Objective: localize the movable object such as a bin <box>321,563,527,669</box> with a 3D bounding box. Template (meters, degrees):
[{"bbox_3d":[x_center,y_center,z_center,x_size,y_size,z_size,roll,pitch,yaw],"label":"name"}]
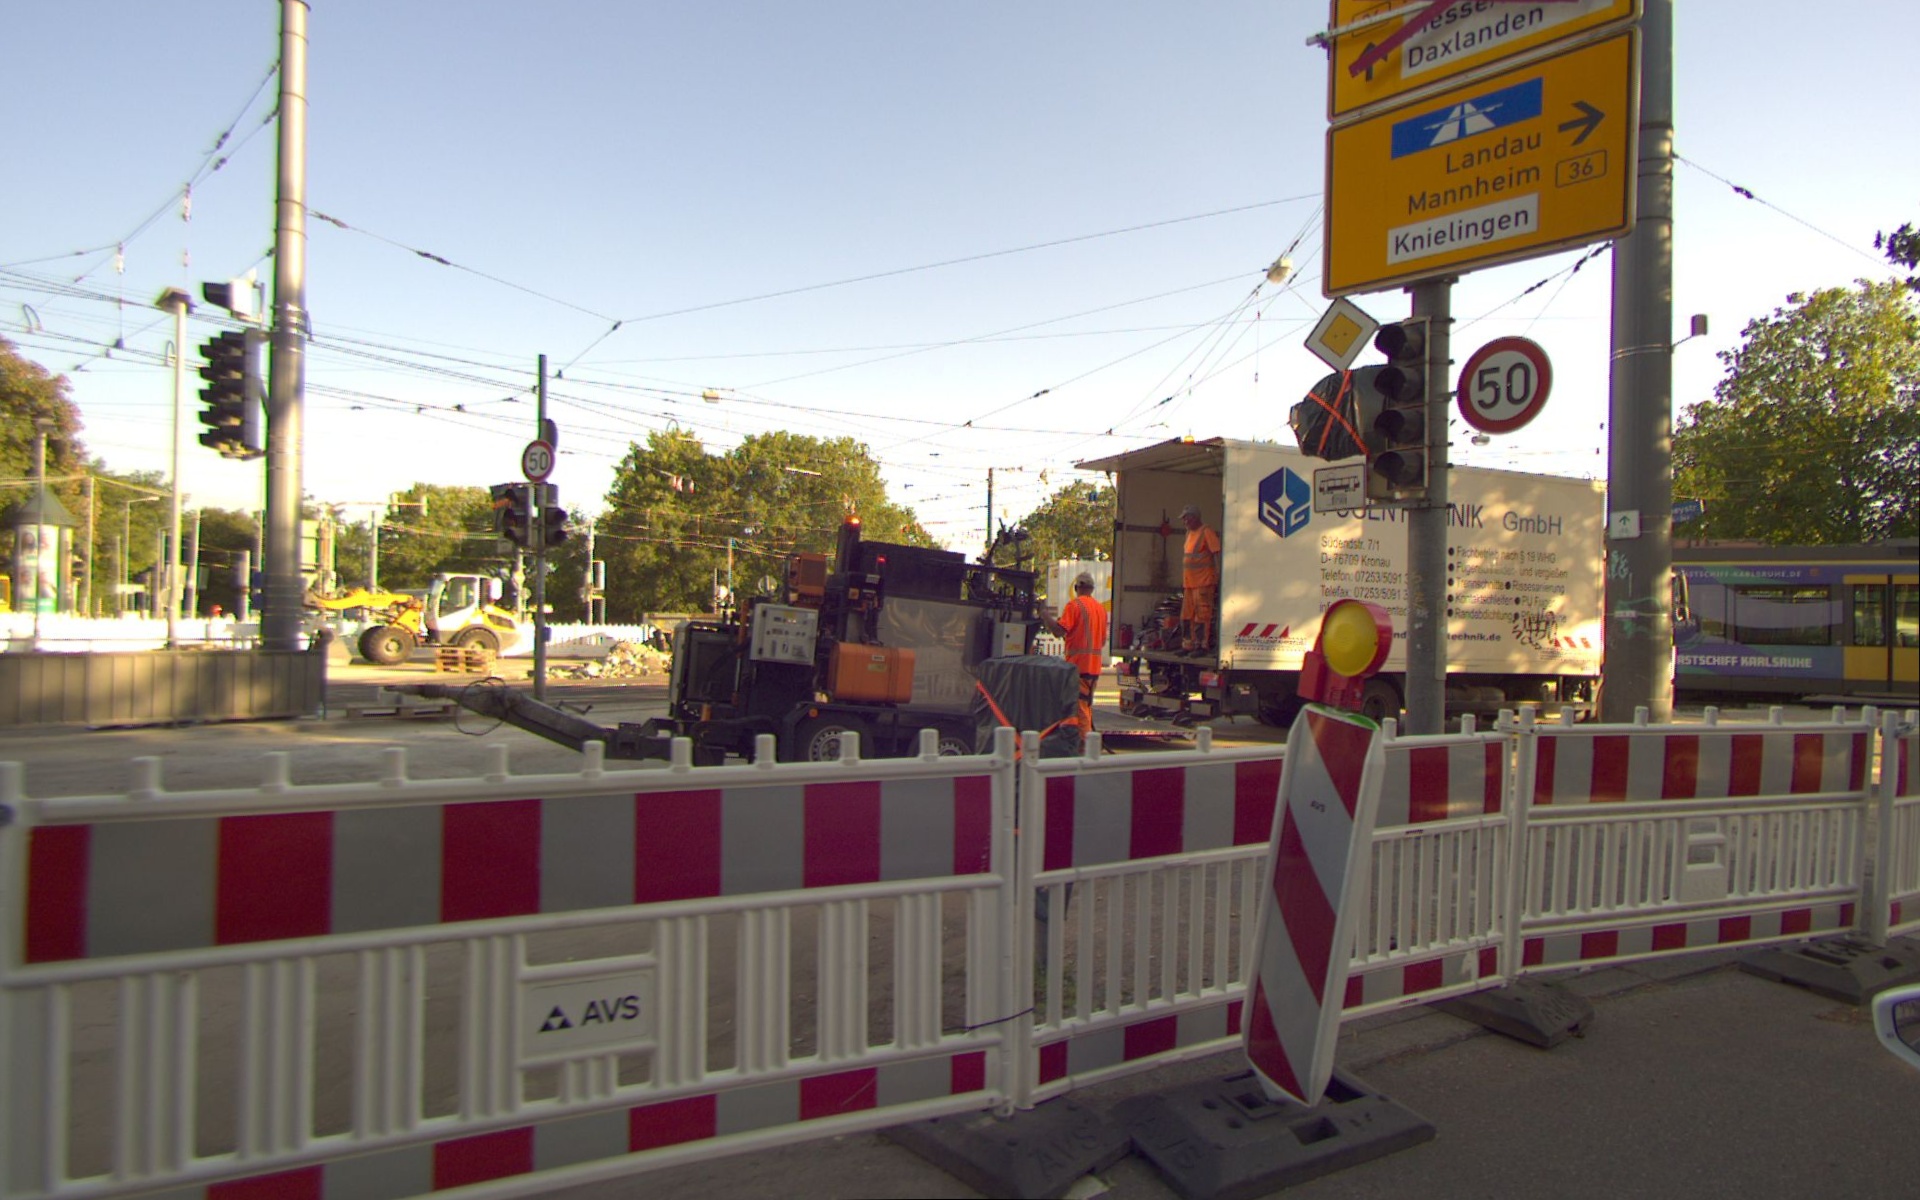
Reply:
[{"bbox_3d":[-14.680,0.460,27.668,2.128,2.674,4.571,0,-1,44],"label":"movable object such as a bin"}]

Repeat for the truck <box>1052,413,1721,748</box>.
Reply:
[{"bbox_3d":[5.860,-0.110,13.623,8.847,3.588,2.808,1,-1,-20],"label":"truck"}]

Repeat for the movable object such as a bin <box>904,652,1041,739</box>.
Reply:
[{"bbox_3d":[0.159,1.117,12.076,0.923,0.929,1.411,0,-2,45],"label":"movable object such as a bin"}]

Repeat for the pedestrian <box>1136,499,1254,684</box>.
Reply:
[{"bbox_3d":[2.719,-0.088,11.684,0.987,2.040,0.934,0,0,-22],"label":"pedestrian"}]

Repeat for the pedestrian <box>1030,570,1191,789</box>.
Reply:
[{"bbox_3d":[1.345,0.674,9.053,1.057,1.822,0.968,1,-1,-30],"label":"pedestrian"}]

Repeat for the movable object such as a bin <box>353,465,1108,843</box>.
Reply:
[{"bbox_3d":[-1.596,0.369,7.922,5.130,2.287,1.990,1,1,-21],"label":"movable object such as a bin"}]

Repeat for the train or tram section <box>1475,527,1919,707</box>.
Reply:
[{"bbox_3d":[18.638,0.357,21.684,13.137,3.579,2.858,1,-1,23],"label":"train or tram section"}]

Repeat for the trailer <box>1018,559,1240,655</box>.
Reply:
[{"bbox_3d":[7.178,0.290,43.638,9.066,3.848,2.895,1,1,-2],"label":"trailer"}]
